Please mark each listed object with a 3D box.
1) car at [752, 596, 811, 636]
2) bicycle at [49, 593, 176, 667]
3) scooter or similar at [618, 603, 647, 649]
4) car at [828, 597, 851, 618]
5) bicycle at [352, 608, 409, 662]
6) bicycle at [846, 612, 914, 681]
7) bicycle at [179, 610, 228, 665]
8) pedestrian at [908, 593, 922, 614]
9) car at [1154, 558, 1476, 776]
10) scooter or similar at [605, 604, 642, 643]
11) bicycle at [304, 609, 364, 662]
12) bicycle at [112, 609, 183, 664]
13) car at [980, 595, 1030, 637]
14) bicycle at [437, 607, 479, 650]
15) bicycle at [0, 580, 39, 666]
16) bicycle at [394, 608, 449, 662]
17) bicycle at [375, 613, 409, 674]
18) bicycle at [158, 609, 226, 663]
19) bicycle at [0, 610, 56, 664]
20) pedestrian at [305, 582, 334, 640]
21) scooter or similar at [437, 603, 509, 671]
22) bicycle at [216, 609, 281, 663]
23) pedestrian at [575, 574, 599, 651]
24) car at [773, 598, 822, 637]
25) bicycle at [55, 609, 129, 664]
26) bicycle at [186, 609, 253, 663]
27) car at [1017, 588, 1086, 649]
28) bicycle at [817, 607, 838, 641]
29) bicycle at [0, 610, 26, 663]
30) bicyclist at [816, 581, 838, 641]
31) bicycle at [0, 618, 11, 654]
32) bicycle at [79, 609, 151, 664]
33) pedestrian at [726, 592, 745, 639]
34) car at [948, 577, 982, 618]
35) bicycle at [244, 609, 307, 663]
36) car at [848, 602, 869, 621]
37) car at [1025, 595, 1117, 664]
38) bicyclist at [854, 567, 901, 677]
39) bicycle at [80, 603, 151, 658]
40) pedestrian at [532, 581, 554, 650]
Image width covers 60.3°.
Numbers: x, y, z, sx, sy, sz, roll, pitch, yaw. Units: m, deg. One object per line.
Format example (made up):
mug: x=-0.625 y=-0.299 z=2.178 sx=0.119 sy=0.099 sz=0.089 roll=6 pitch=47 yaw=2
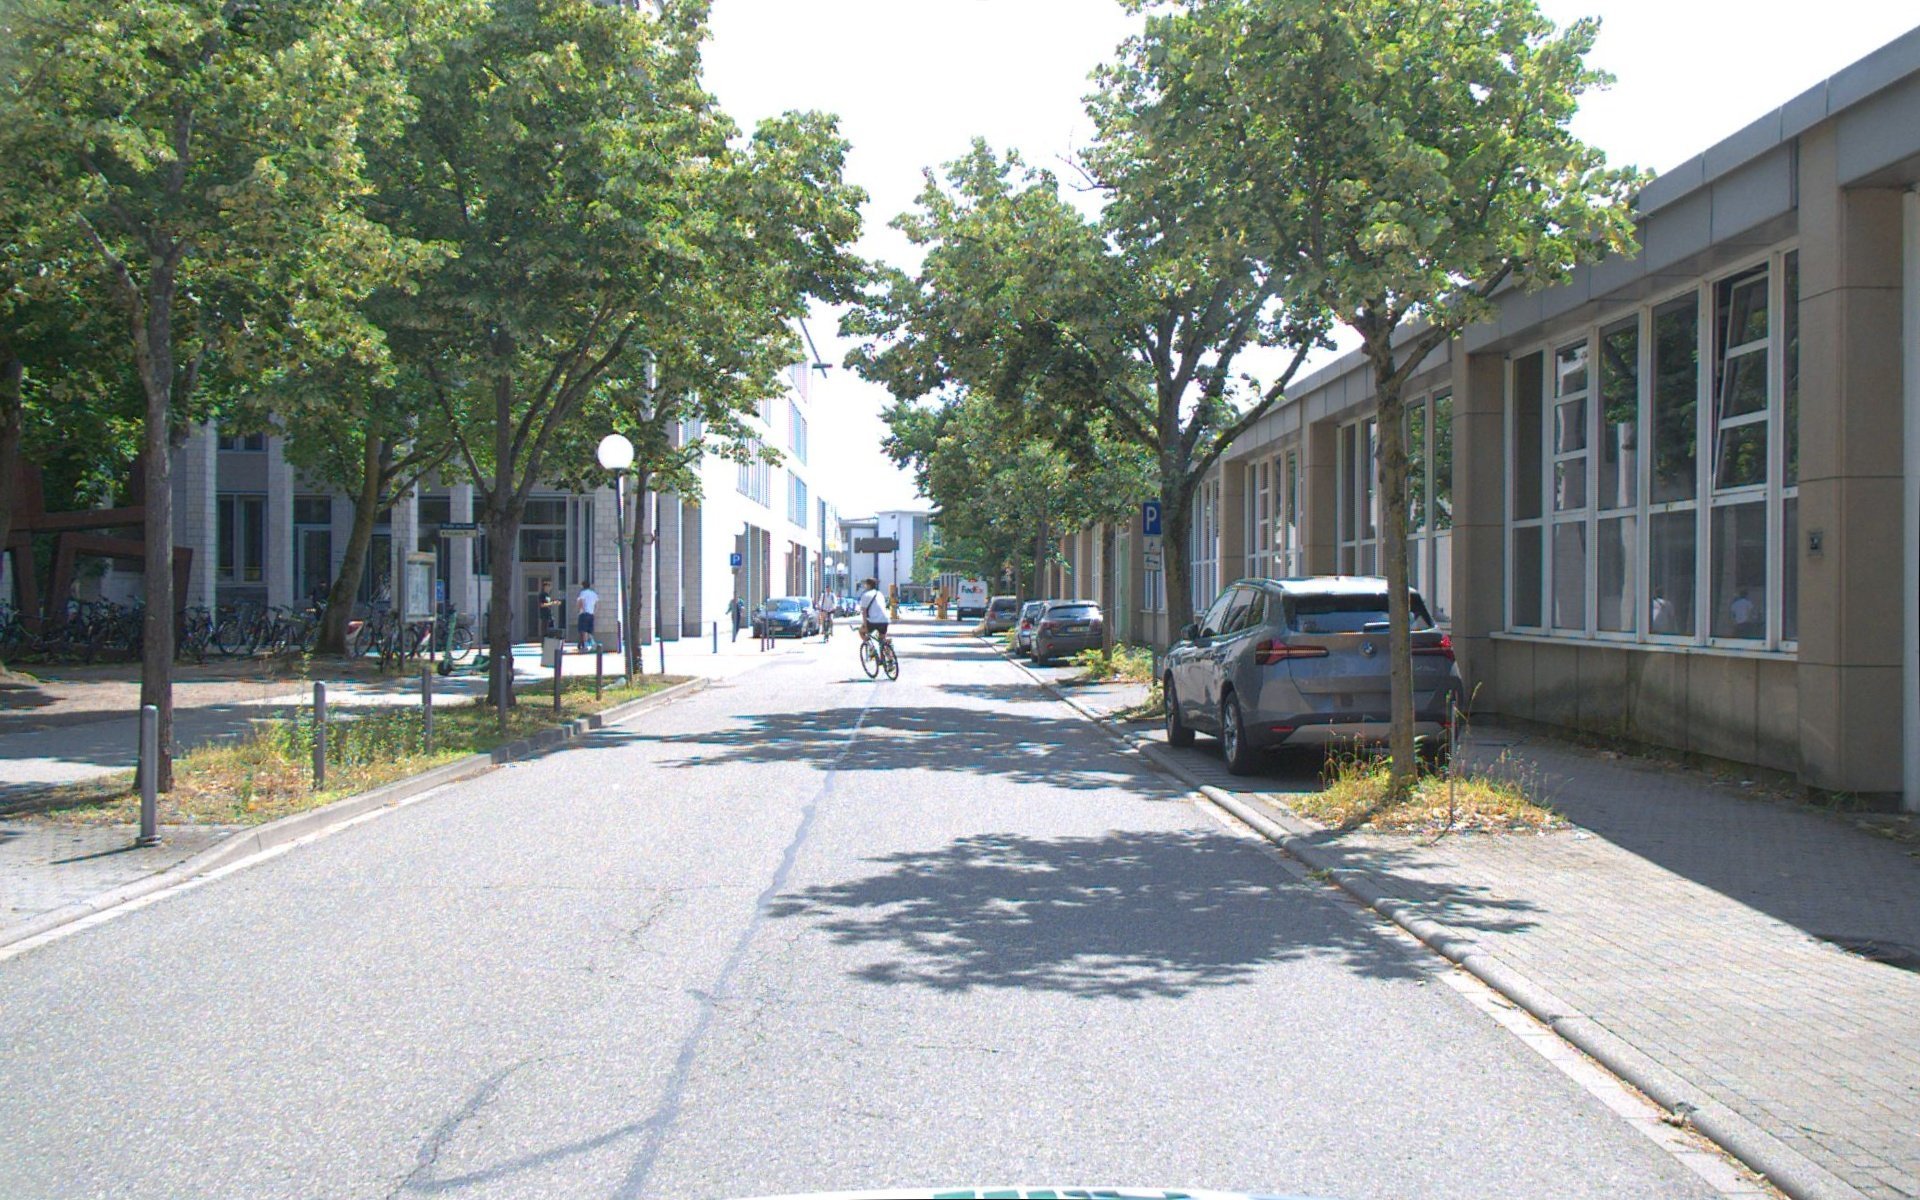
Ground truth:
car: x=-6.638 y=0.594 z=61.918 sx=1.730 sy=1.452 sz=4.234 roll=0 pitch=-1 yaw=0
bicycle: x=-15.275 y=0.522 z=29.832 sx=1.996 sy=1.275 sz=0.580 roll=-1 pitch=0 yaw=-34
scooter or similar: x=-9.069 y=0.705 z=45.850 sx=0.445 sy=1.245 sz=1.549 roll=0 pitch=0 yaw=2
car: x=-9.239 y=0.593 z=127.322 sx=1.612 sy=1.524 sz=3.727 roll=0 pitch=-2 yaw=-2
bicycle: x=-12.484 y=0.742 z=35.665 sx=0.541 sy=1.105 sz=1.972 roll=2 pitch=0 yaw=-1
bicycle: x=-1.539 y=0.854 z=31.287 sx=0.867 sy=1.220 sz=2.741 roll=1 pitch=0 yaw=-12
bicycle: x=-14.036 y=0.677 z=30.715 sx=0.467 sy=0.982 sz=1.651 roll=0 pitch=0 yaw=-12
pedestrian: x=-4.779 y=0.351 z=173.988 sx=1.389 sy=2.144 sz=0.994 roll=1 pitch=0 yaw=-5
car: x=3.105 y=0.568 z=15.481 sx=1.786 sy=1.693 sz=4.581 roll=-1 pitch=-1 yaw=-3
scooter or similar: x=-10.808 y=0.743 z=53.117 sx=0.521 sy=1.231 sz=1.536 roll=0 pitch=0 yaw=-38
bicycle: x=-13.580 y=0.757 z=35.932 sx=0.541 sy=1.105 sz=1.972 roll=2 pitch=0 yaw=-1
bicycle: x=-17.311 y=0.759 z=35.300 sx=0.541 sy=1.105 sz=1.972 roll=2 pitch=0 yaw=-1
car: x=1.786 y=0.626 z=66.927 sx=1.821 sy=1.601 sz=3.999 roll=-1 pitch=0 yaw=-1
bicycle: x=-13.346 y=0.754 z=43.972 sx=0.455 sy=1.032 sz=1.865 roll=1 pitch=2 yaw=2
bicycle: x=-17.198 y=0.394 z=28.521 sx=2.263 sy=1.475 sz=0.600 roll=1 pitch=0 yaw=-35
bicycle: x=-11.548 y=0.731 z=35.497 sx=0.541 sy=1.105 sz=1.972 roll=2 pitch=0 yaw=-1
bicycle: x=-10.036 y=0.755 z=29.262 sx=0.375 sy=1.043 sz=1.809 roll=1 pitch=0 yaw=-13
bicycle: x=-16.489 y=0.762 z=35.545 sx=0.541 sy=1.105 sz=1.972 roll=2 pitch=0 yaw=-1
bicycle: x=-20.079 y=0.774 z=35.246 sx=0.541 sy=1.105 sz=1.972 roll=2 pitch=0 yaw=-1
pedestrian: x=-18.812 y=0.319 z=48.559 sx=0.628 sy=1.690 sz=0.685 roll=1 pitch=0 yaw=-38
scooter or similar: x=-8.767 y=0.661 z=29.821 sx=0.333 sy=1.196 sz=1.324 roll=1 pitch=0 yaw=33
bicycle: x=-15.252 y=0.752 z=35.481 sx=0.541 sy=1.105 sz=1.972 roll=2 pitch=0 yaw=-1
pedestrian: x=-9.745 y=0.324 z=43.164 sx=0.408 sy=1.976 sz=0.656 roll=1 pitch=0 yaw=-30
car: x=-6.491 y=0.682 z=66.557 sx=1.598 sy=1.511 sz=4.177 roll=0 pitch=0 yaw=-1
bicycle: x=-18.567 y=0.770 z=35.409 sx=0.541 sy=1.105 sz=1.972 roll=2 pitch=0 yaw=-1
bicycle: x=-15.847 y=0.754 z=35.437 sx=0.541 sy=1.105 sz=1.972 roll=2 pitch=0 yaw=-1
car: x=2.429 y=0.478 z=44.744 sx=1.583 sy=1.565 sz=3.779 roll=0 pitch=0 yaw=-1
bicycle: x=-4.607 y=0.836 z=57.492 sx=0.671 sy=1.149 sz=1.887 roll=0 pitch=0 yaw=-3
bicycle: x=-20.852 y=0.785 z=35.445 sx=0.541 sy=1.105 sz=1.972 roll=2 pitch=0 yaw=-1
bicyclist: x=-4.616 y=0.395 z=57.424 sx=0.697 sy=2.049 sz=1.018 roll=-1 pitch=0 yaw=-4
bicycle: x=-25.713 y=0.955 z=43.393 sx=0.515 sy=0.963 sz=1.993 roll=0 pitch=0 yaw=-2
bicycle: x=-17.997 y=0.762 z=35.268 sx=0.541 sy=1.105 sz=1.972 roll=2 pitch=0 yaw=-1
pedestrian: x=-8.364 y=0.583 z=61.684 sx=0.638 sy=1.731 sz=0.887 roll=1 pitch=0 yaw=-12
car: x=0.301 y=-0.150 z=106.507 sx=2.041 sy=2.584 sz=4.314 roll=1 pitch=0 yaw=-2
bicycle: x=-14.699 y=0.752 z=35.562 sx=0.541 sy=1.105 sz=1.972 roll=2 pitch=0 yaw=-1
car: x=-8.529 y=0.969 z=139.476 sx=1.612 sy=1.524 sz=3.727 roll=0 pitch=-2 yaw=-2
car: x=2.558 y=0.660 z=39.073 sx=1.744 sy=1.502 sz=4.460 roll=-1 pitch=0 yaw=-1
bicyclist: x=-1.566 y=0.408 z=31.222 sx=0.856 sy=2.049 sz=0.849 roll=0 pitch=0 yaw=-4
bicycle: x=-16.761 y=0.593 z=32.875 sx=0.466 sy=1.050 sz=1.850 roll=0 pitch=0 yaw=-1
pedestrian: x=-11.030 y=0.414 z=43.753 sx=0.436 sy=1.806 sz=0.446 roll=1 pitch=0 yaw=-32
